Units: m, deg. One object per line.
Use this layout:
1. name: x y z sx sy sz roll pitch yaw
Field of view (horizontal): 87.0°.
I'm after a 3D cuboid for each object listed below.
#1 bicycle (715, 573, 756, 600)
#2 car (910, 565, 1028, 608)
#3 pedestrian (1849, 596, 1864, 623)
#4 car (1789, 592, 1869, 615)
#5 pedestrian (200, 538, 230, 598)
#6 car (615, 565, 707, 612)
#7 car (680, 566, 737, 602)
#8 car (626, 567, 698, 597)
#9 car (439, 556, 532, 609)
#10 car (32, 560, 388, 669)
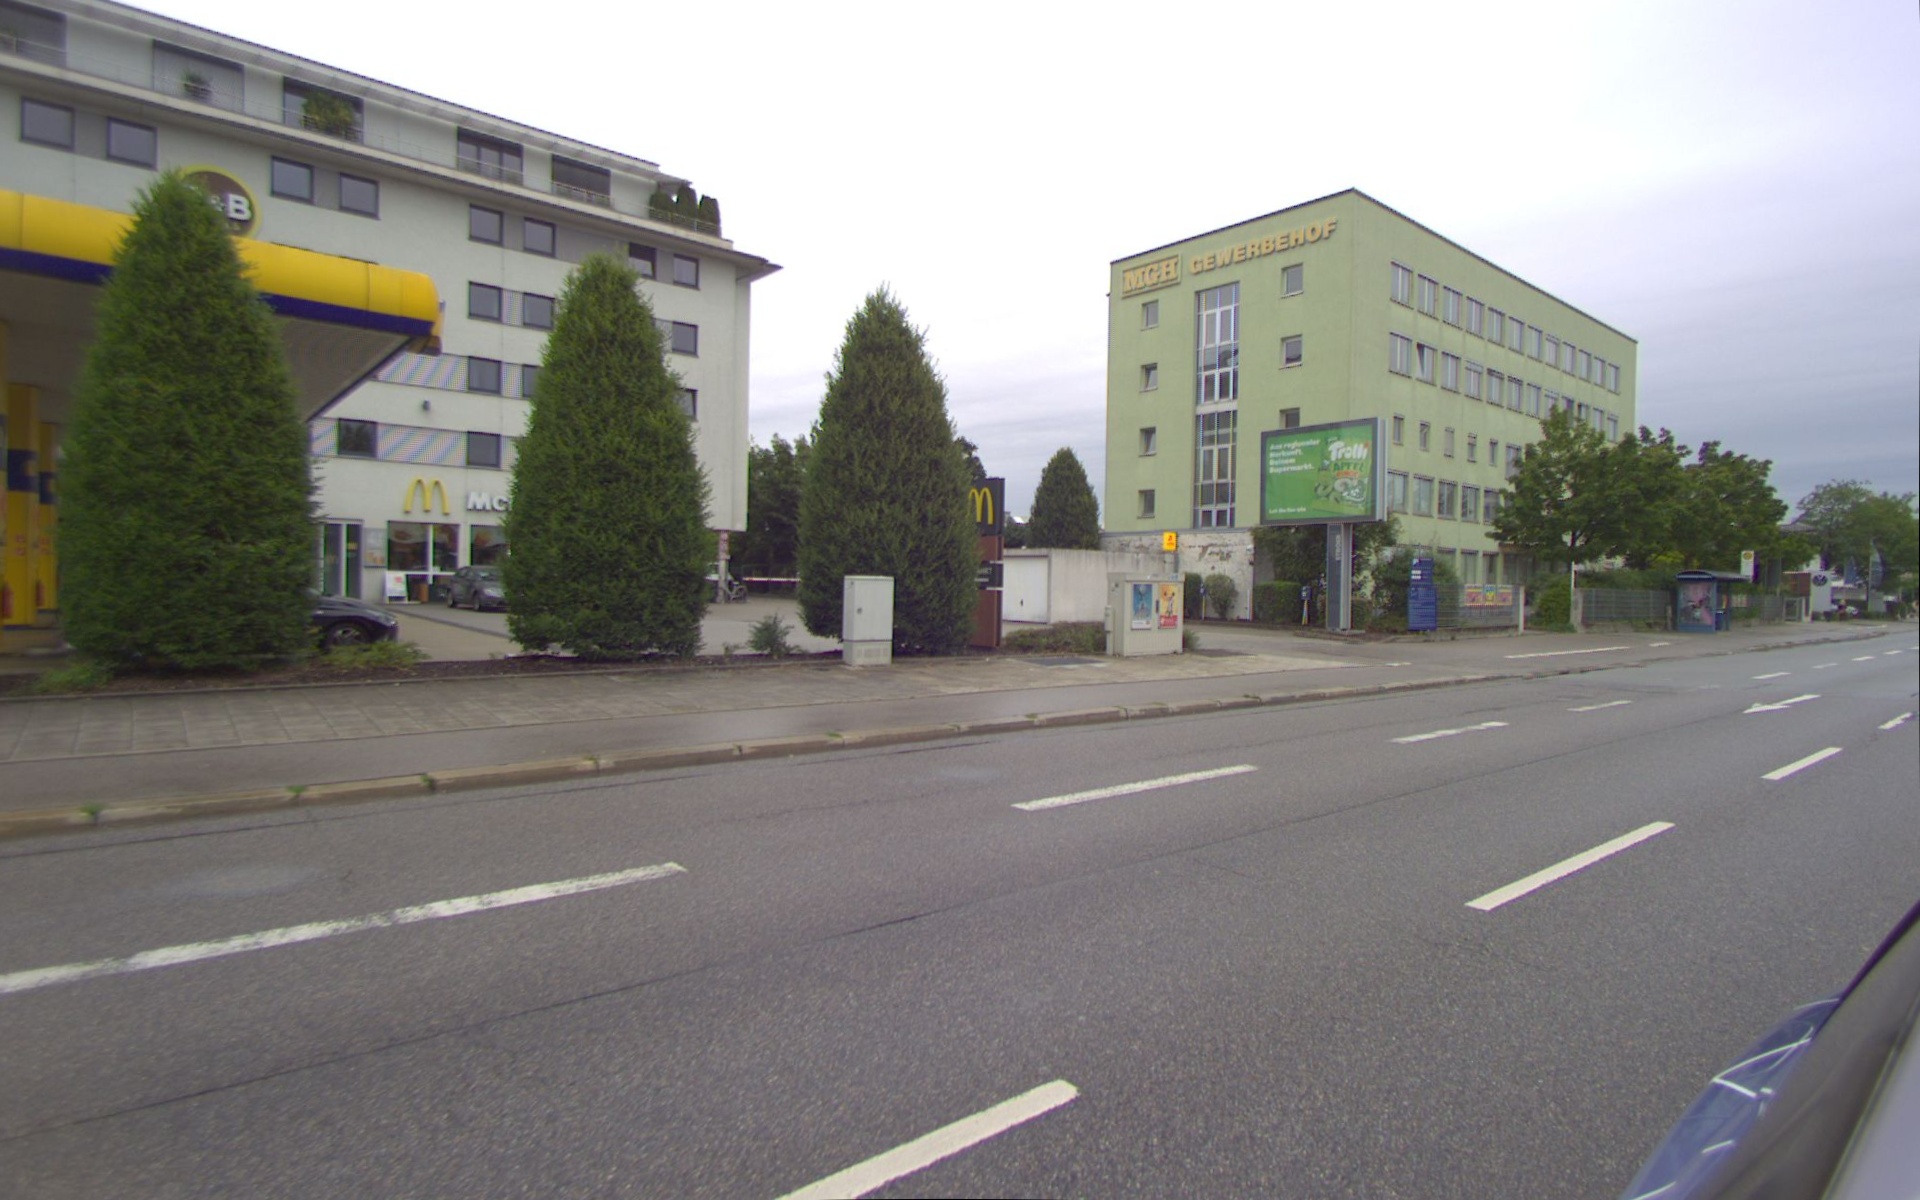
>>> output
1. bicycle: -9.735 -0.567 43.876 0.447 1.130 1.848 0 0 40
2. car: 0.353 -0.458 35.791 3.929 1.457 1.828 0 0 -41
3. pedestrian: 61.906 0.673 69.876 0.676 1.844 0.682 0 0 -41
4. car: 70.476 0.254 82.198 4.602 1.866 1.784 0 0 28
5. pedestrian: -22.077 -0.941 29.986 0.633 1.750 0.707 0 0 -44
6. car: -10.924 -0.434 36.850 1.677 1.607 3.994 0 1 -41
7. car: -14.327 -0.881 57.508 1.690 1.967 3.997 0 0 -37
8. car: -18.095 -1.064 61.538 3.925 1.731 1.656 0 0 -36
9. car: -15.438 -0.584 32.823 1.677 1.607 3.994 0 1 -41
10. car: -10.633 0.176 14.542 3.931 1.349 1.797 0 0 -42
